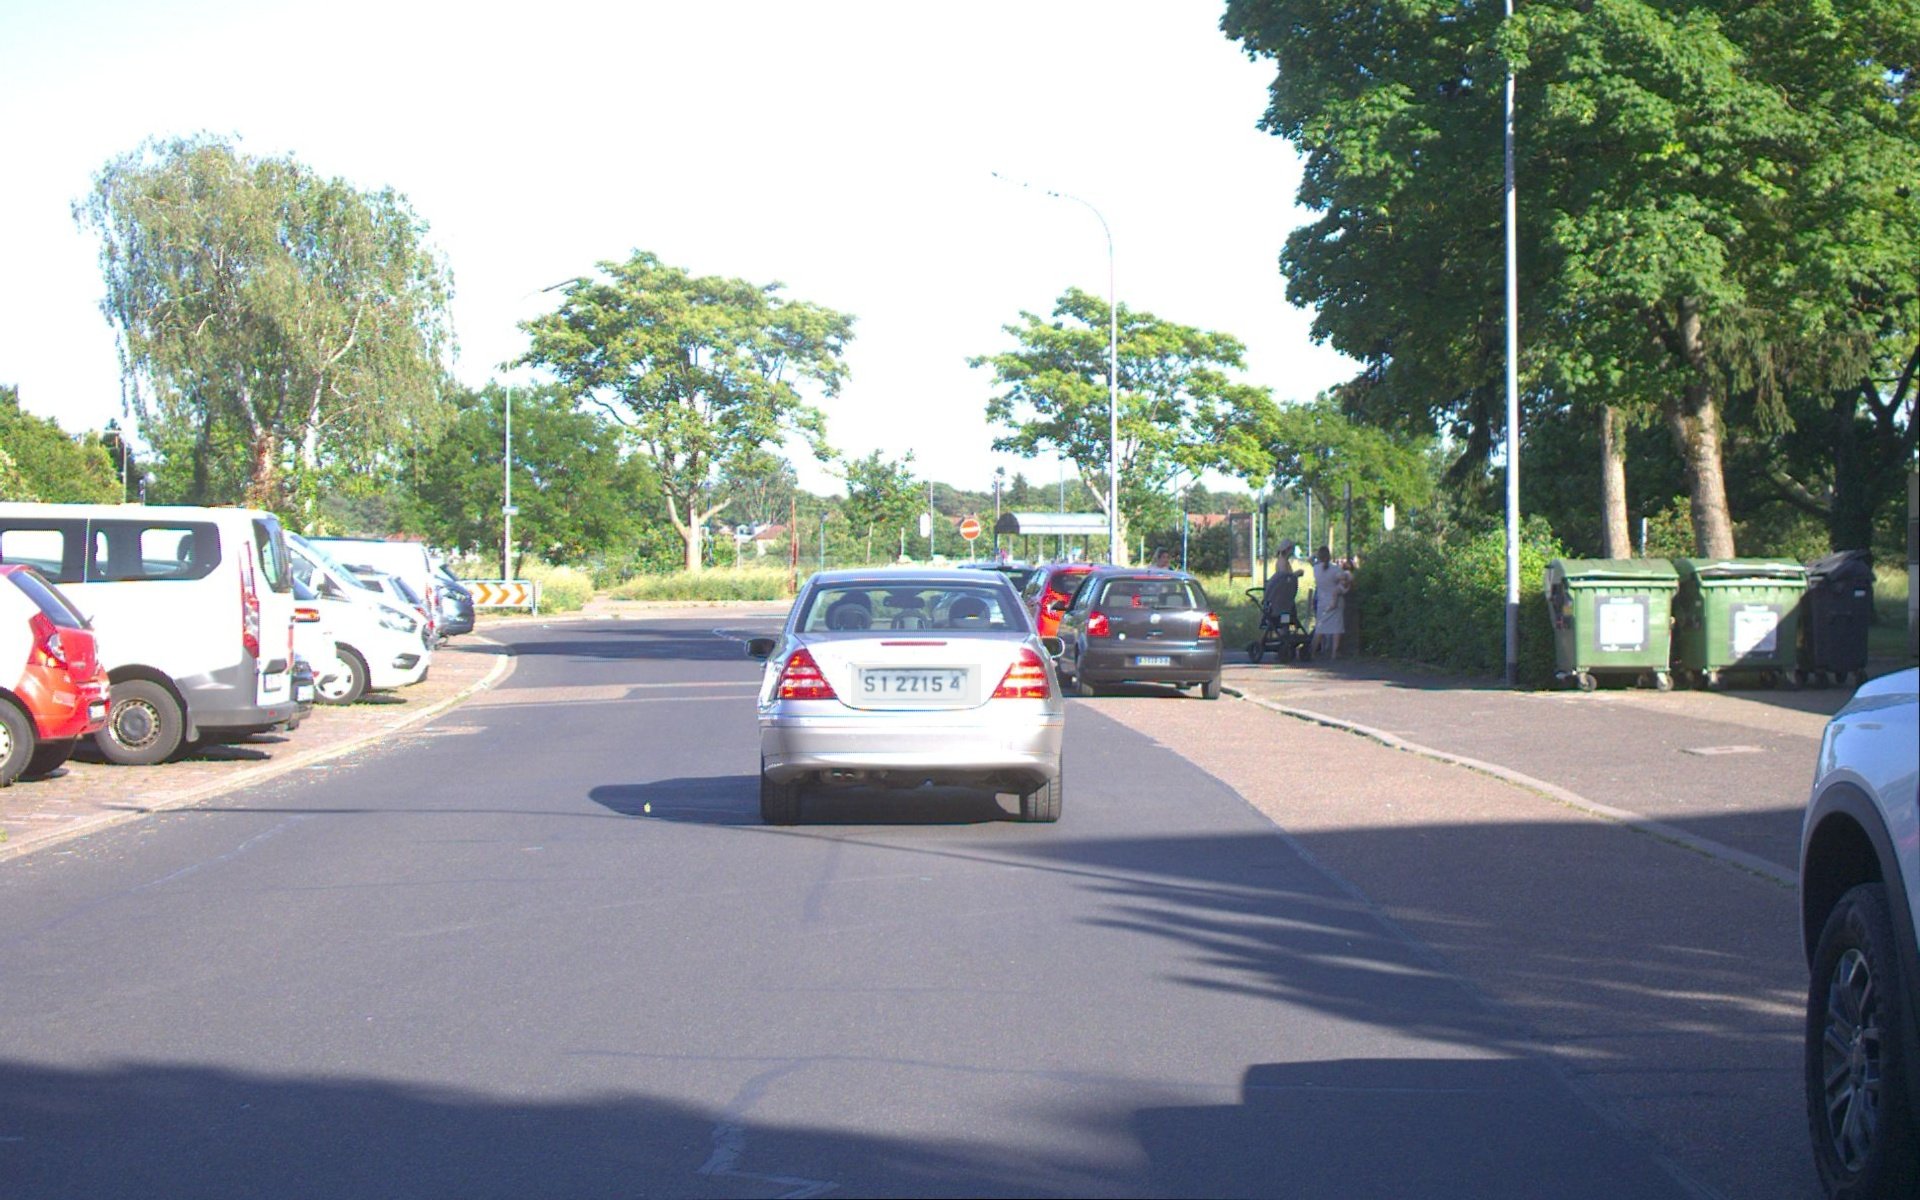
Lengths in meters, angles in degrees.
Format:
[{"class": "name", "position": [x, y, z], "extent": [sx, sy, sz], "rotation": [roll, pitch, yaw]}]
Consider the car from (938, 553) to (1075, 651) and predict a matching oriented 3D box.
[{"class": "car", "position": [0.741, 0.027, 57.064], "extent": [1.731, 1.538, 3.789], "rotation": [1, 0, -7]}]

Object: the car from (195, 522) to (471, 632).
[{"class": "car", "position": [-11.453, -0.415, 62.943], "extent": [4.870, 1.909, 2.000], "rotation": [1, 0, -10]}]

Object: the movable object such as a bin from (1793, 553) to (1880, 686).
[{"class": "movable object such as a bin", "position": [9.474, 0.208, 37.177], "extent": [0.723, 1.411, 0.689], "rotation": [1, 0, -3]}]

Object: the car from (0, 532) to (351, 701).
[{"class": "car", "position": [-8.496, 0.155, 35.679], "extent": [3.987, 1.577, 1.884], "rotation": [2, 0, -1]}]

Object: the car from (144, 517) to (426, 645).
[{"class": "car", "position": [-9.950, -0.292, 50.926], "extent": [3.976, 1.774, 1.926], "rotation": [1, 1, -8]}]

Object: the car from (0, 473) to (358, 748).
[{"class": "car", "position": [-7.122, 0.038, 26.805], "extent": [4.478, 1.970, 2.000], "rotation": [2, 0, -2]}]

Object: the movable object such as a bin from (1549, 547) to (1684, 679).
[{"class": "movable object such as a bin", "position": [7.111, 0.137, 37.259], "extent": [1.237, 1.398, 0.915], "rotation": [1, 0, -3]}]

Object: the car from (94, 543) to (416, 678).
[{"class": "car", "position": [-8.385, 0.124, 41.095], "extent": [3.513, 1.441, 1.637], "rotation": [2, 0, -3]}]

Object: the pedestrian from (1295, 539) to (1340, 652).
[{"class": "pedestrian", "position": [4.981, -0.054, 47.897], "extent": [0.485, 1.559, 0.469], "rotation": [-1, -1, -9]}]

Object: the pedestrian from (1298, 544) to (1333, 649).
[{"class": "pedestrian", "position": [5.122, -0.046, 49.477], "extent": [0.361, 1.498, 0.501], "rotation": [-1, -1, -8]}]

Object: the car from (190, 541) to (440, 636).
[{"class": "car", "position": [-11.271, -0.198, 60.274], "extent": [4.136, 1.487, 1.926], "rotation": [2, 0, -7]}]

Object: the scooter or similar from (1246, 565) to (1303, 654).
[{"class": "scooter or similar", "position": [4.382, 0.126, 47.905], "extent": [0.622, 1.223, 0.905], "rotation": [-1, 0, -5]}]

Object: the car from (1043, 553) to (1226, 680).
[{"class": "car", "position": [1.972, 0.182, 39.850], "extent": [1.647, 1.398, 3.882], "rotation": [0, 0, -4]}]

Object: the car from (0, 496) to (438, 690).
[{"class": "car", "position": [-8.354, -0.079, 38.366], "extent": [4.788, 1.914, 2.082], "rotation": [2, 0, -4]}]

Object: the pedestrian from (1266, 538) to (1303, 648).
[{"class": "pedestrian", "position": [4.629, -0.095, 49.020], "extent": [0.481, 1.559, 0.597], "rotation": [-1, -1, 5]}]

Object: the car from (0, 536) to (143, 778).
[{"class": "car", "position": [-7.671, 0.308, 23.685], "extent": [3.602, 1.562, 1.852], "rotation": [2, 1, -1]}]

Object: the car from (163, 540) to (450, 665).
[{"class": "car", "position": [-8.686, 0.024, 45.912], "extent": [3.513, 1.484, 1.637], "rotation": [2, 0, -3]}]

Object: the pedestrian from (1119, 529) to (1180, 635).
[{"class": "pedestrian", "position": [2.867, -0.267, 52.073], "extent": [0.787, 1.559, 0.570], "rotation": [2, 0, -5]}]

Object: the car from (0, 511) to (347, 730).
[{"class": "car", "position": [-7.491, 0.140, 29.310], "extent": [4.151, 1.700, 1.884], "rotation": [2, 0, -1]}]

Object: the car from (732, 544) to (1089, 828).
[{"class": "car", "position": [-0.403, 0.421, 20.378], "extent": [1.816, 1.458, 4.361], "rotation": [1, 1, -4]}]

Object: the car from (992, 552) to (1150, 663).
[{"class": "car", "position": [1.485, 0.094, 47.238], "extent": [1.575, 1.441, 3.789], "rotation": [1, 0, -7]}]

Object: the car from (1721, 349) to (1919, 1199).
[{"class": "car", "position": [2.911, 0.473, 5.733], "extent": [1.906, 1.834, 5.275], "rotation": [2, 1, -2]}]

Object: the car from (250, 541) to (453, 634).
[{"class": "car", "position": [-11.556, -0.234, 65.435], "extent": [3.611, 1.601, 1.733], "rotation": [2, 0, -5]}]

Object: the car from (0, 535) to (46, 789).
[{"class": "car", "position": [-7.704, 0.315, 21.180], "extent": [3.602, 1.562, 1.881], "rotation": [2, 1, -1]}]

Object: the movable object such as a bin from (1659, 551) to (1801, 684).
[{"class": "movable object such as a bin", "position": [8.360, 0.186, 37.348], "extent": [1.274, 1.411, 0.951], "rotation": [1, 0, -3]}]
